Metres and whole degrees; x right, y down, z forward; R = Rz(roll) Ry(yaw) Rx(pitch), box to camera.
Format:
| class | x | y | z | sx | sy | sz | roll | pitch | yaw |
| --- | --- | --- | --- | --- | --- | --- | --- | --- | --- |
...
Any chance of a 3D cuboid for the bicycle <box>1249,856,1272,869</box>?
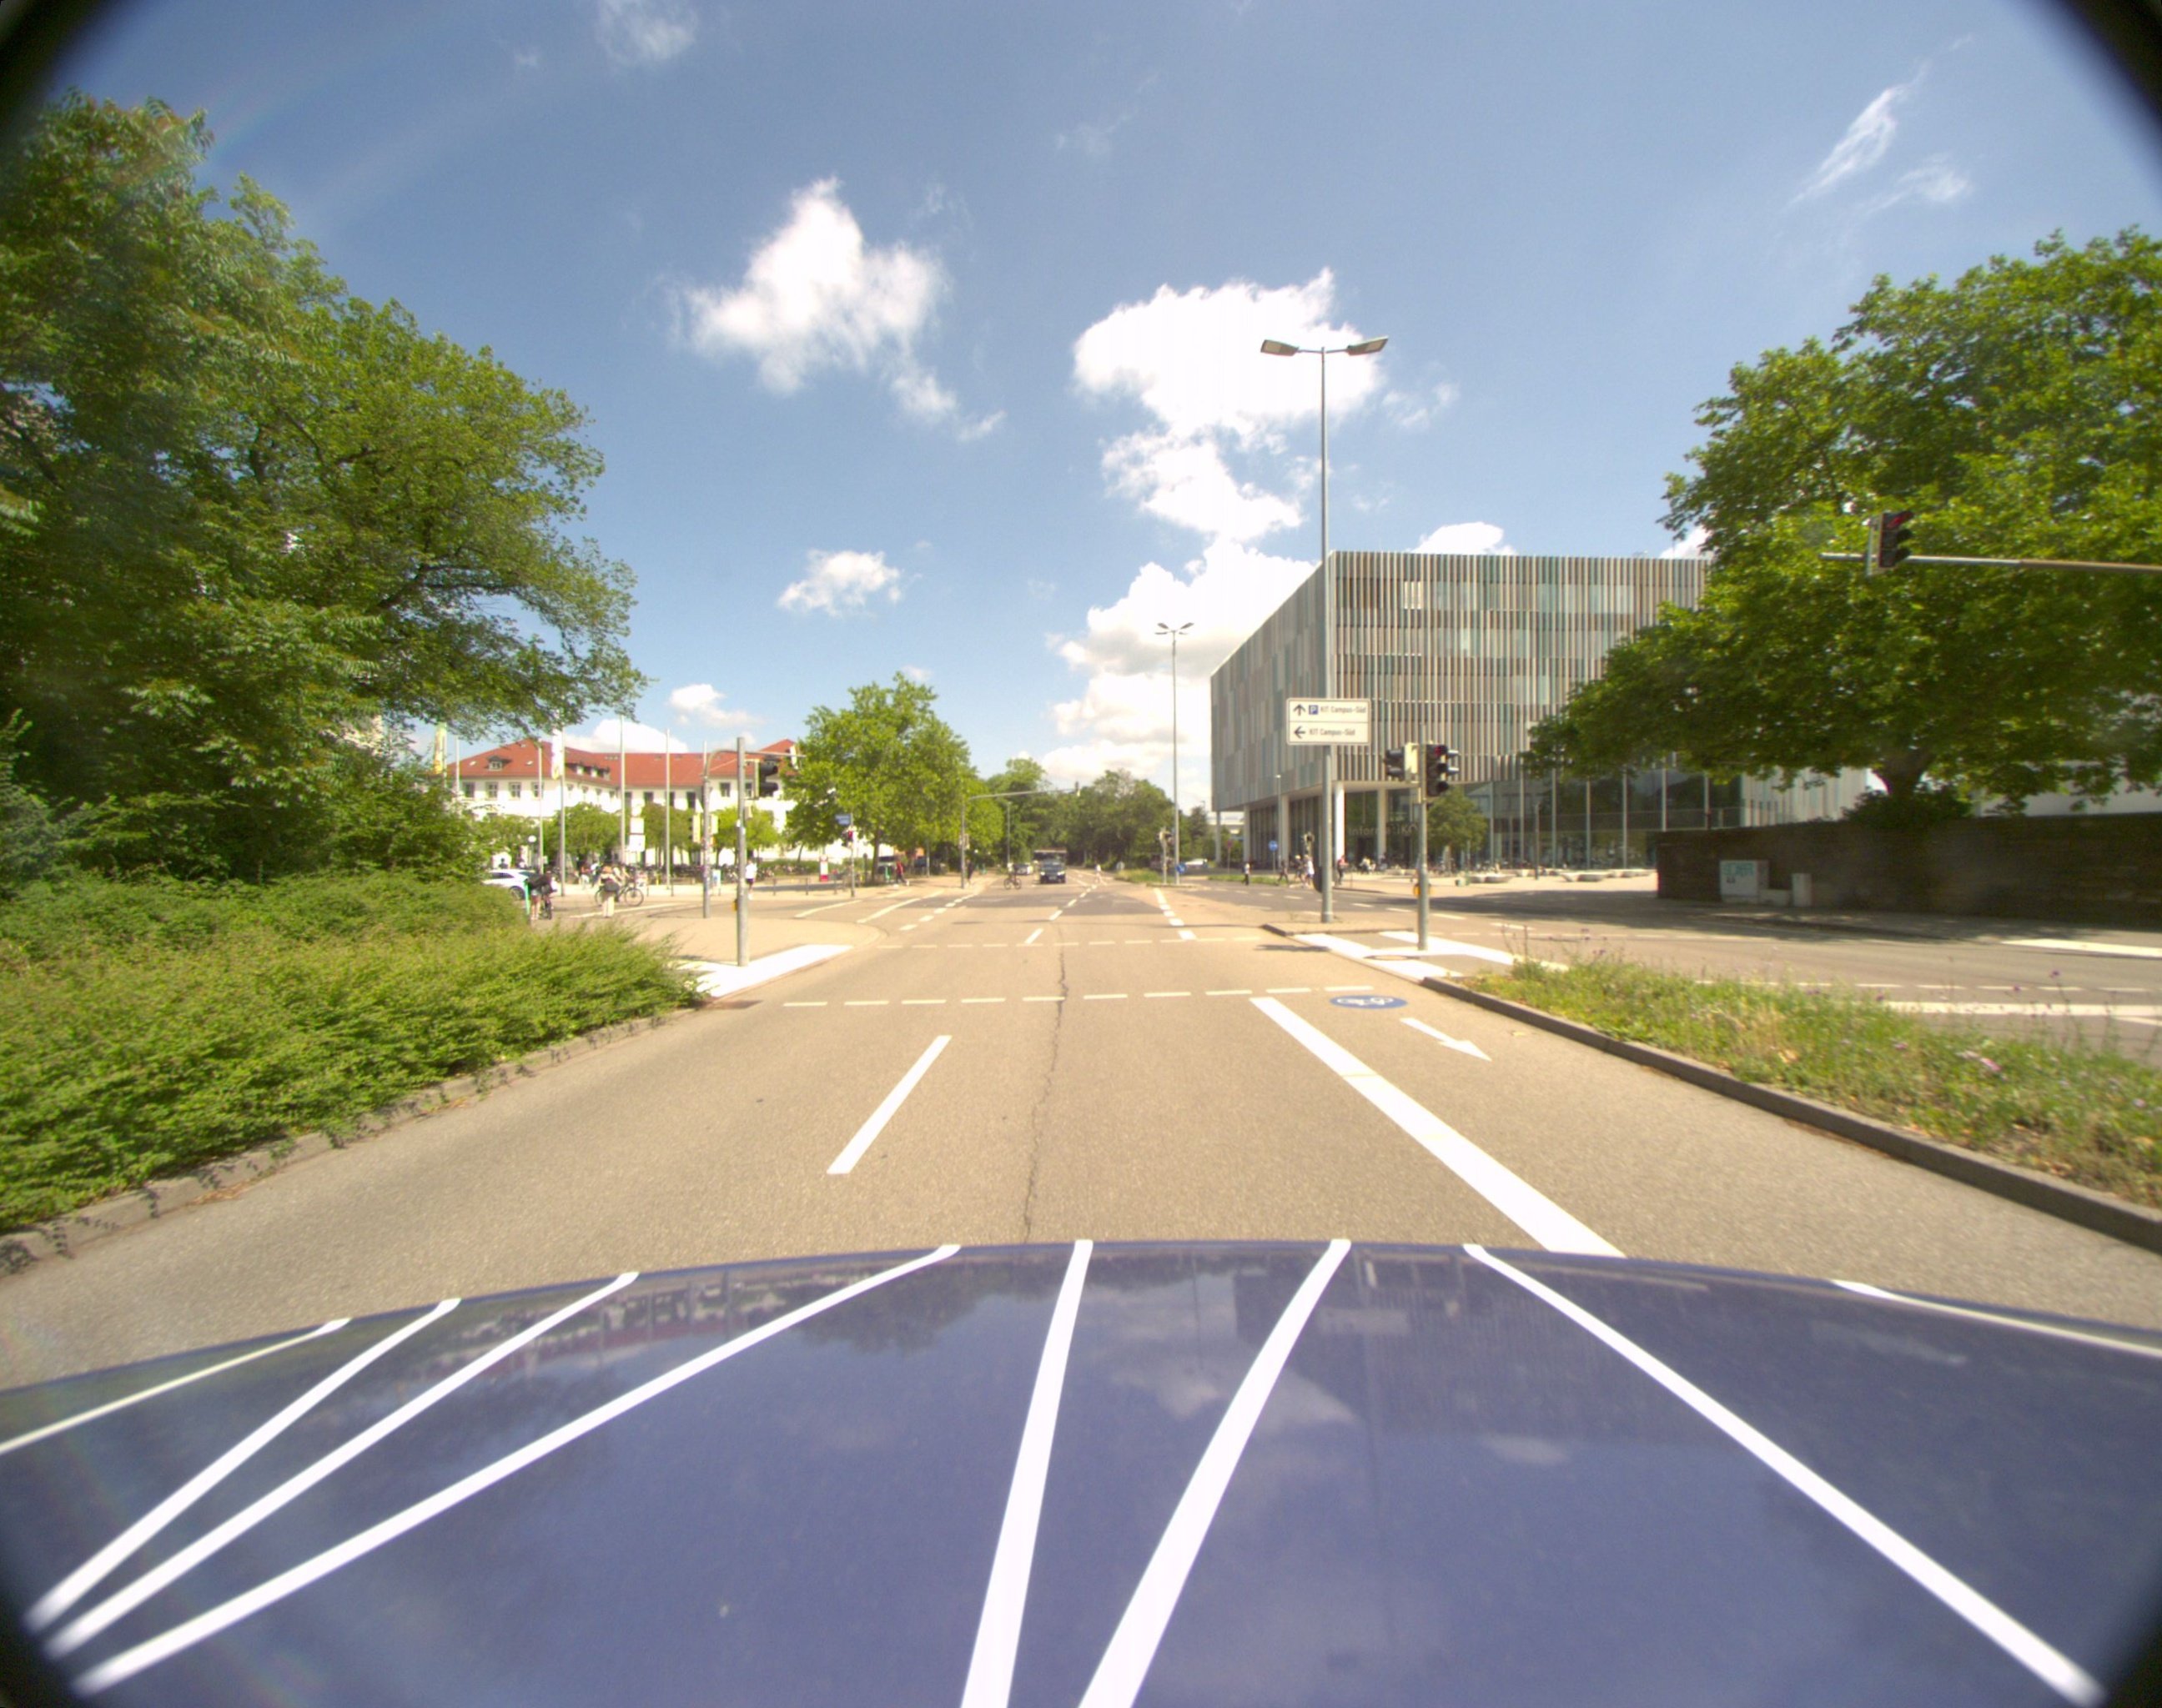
| class | x | y | z | sx | sy | sz | roll | pitch | yaw |
| --- | --- | --- | --- | --- | --- | --- | --- | --- | --- |
| bicycle | 21.091 | 0.955 | 89.196 | 2.511 | 1.486 | 0.621 | -1 | 1 | -1 |

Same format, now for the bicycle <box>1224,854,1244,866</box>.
| class | x | y | z | sx | sy | sz | roll | pitch | yaw |
| --- | --- | --- | --- | --- | --- | --- | --- | --- | --- |
| bicycle | 20.369 | 0.821 | 101.178 | 2.511 | 1.486 | 0.621 | -1 | 1 | -1 |

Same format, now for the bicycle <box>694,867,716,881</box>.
| class | x | y | z | sx | sy | sz | roll | pitch | yaw |
| --- | --- | --- | --- | --- | --- | --- | --- | --- | --- |
| bicycle | -27.411 | 1.453 | 55.441 | 1.371 | 0.995 | 0.352 | -1 | 0 | -7 |

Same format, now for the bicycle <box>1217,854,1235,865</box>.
| class | x | y | z | sx | sy | sz | roll | pitch | yaw |
| --- | --- | --- | --- | --- | --- | --- | --- | --- | --- |
| bicycle | 20.221 | 0.767 | 105.982 | 2.511 | 1.486 | 0.621 | -1 | 1 | -1 |

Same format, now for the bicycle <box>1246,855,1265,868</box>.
| class | x | y | z | sx | sy | sz | roll | pitch | yaw |
| --- | --- | --- | --- | --- | --- | --- | --- | --- | --- |
| bicycle | 21.183 | 0.918 | 92.294 | 2.200 | 1.486 | 0.621 | -1 | 1 | -1 |

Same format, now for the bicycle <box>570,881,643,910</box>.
| class | x | y | z | sx | sy | sz | roll | pitch | yaw |
| --- | --- | --- | --- | --- | --- | --- | --- | --- | --- |
| bicycle | -17.605 | 1.528 | 28.238 | 2.165 | 0.992 | 0.646 | -1 | 0 | -18 |

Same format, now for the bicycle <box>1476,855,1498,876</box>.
| class | x | y | z | sx | sy | sz | roll | pitch | yaw |
| --- | --- | --- | --- | --- | --- | --- | --- | --- | --- |
| bicycle | 30.669 | 0.825 | 57.402 | 0.997 | 1.543 | 3.422 | 0 | 0 | 36 |

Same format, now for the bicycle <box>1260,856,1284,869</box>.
| class | x | y | z | sx | sy | sz | roll | pitch | yaw |
| --- | --- | --- | --- | --- | --- | --- | --- | --- | --- |
| bicycle | 21.729 | 0.980 | 86.526 | 2.509 | 1.486 | 0.730 | -1 | 1 | 9 |

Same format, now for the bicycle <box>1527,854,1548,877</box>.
| class | x | y | z | sx | sy | sz | roll | pitch | yaw |
| --- | --- | --- | --- | --- | --- | --- | --- | --- | --- |
| bicycle | 33.144 | 0.813 | 55.098 | 0.997 | 1.543 | 3.422 | 0 | 0 | 36 |

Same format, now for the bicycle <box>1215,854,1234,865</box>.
| class | x | y | z | sx | sy | sz | roll | pitch | yaw |
| --- | --- | --- | --- | --- | --- | --- | --- | --- | --- |
| bicycle | 20.152 | 0.758 | 106.682 | 2.511 | 1.486 | 0.621 | -1 | 1 | -1 |

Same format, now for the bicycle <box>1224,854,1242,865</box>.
| class | x | y | z | sx | sy | sz | roll | pitch | yaw |
| --- | --- | --- | --- | --- | --- | --- | --- | --- | --- |
| bicycle | 20.636 | 0.793 | 103.365 | 2.330 | 1.486 | 0.621 | -1 | 1 | -1 |

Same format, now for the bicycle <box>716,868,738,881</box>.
| class | x | y | z | sx | sy | sz | roll | pitch | yaw |
| --- | --- | --- | --- | --- | --- | --- | --- | --- | --- |
| bicycle | -25.630 | 1.467 | 54.993 | 1.371 | 0.941 | 0.352 | -1 | 0 | -7 |

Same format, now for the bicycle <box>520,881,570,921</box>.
| class | x | y | z | sx | sy | sz | roll | pitch | yaw |
| --- | --- | --- | --- | --- | --- | --- | --- | --- | --- |
| bicycle | -15.876 | 1.372 | 22.495 | 1.659 | 1.136 | 0.673 | -2 | -2 | 36 |

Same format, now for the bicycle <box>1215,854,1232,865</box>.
| class | x | y | z | sx | sy | sz | roll | pitch | yaw |
| --- | --- | --- | --- | --- | --- | --- | --- | --- | --- |
| bicycle | 20.223 | 0.743 | 107.970 | 2.303 | 1.486 | 0.657 | -1 | 1 | -1 |

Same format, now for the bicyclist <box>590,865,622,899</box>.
| class | x | y | z | sx | sy | sz | roll | pitch | yaw |
| --- | --- | --- | --- | --- | --- | --- | --- | --- | --- |
| bicyclist | -17.642 | 1.030 | 28.233 | 0.834 | 1.219 | 0.617 | -1 | 0 | -18 |

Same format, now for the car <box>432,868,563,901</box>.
| class | x | y | z | sx | sy | sz | roll | pitch | yaw |
| --- | --- | --- | --- | --- | --- | --- | --- | --- | --- |
| car | -26.621 | 1.393 | 34.794 | 4.441 | 1.389 | 1.833 | -1 | 0 | -5 |

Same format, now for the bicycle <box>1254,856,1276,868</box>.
| class | x | y | z | sx | sy | sz | roll | pitch | yaw |
| --- | --- | --- | --- | --- | --- | --- | --- | --- | --- |
| bicycle | 21.817 | 0.938 | 90.108 | 2.511 | 1.486 | 0.621 | -1 | 1 | -1 |

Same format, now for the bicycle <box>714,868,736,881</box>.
| class | x | y | z | sx | sy | sz | roll | pitch | yaw |
| --- | --- | --- | --- | --- | --- | --- | --- | --- | --- |
| bicycle | -25.513 | 1.477 | 54.428 | 1.371 | 0.945 | 0.352 | -1 | 0 | -7 |

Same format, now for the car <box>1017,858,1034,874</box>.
| class | x | y | z | sx | sy | sz | roll | pitch | yaw |
| --- | --- | --- | --- | --- | --- | --- | --- | --- | --- |
| car | -6.283 | 1.294 | 85.997 | 1.913 | 1.772 | 3.998 | -1 | 0 | -5 |

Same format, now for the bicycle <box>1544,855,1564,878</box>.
| class | x | y | z | sx | sy | sz | roll | pitch | yaw |
| --- | --- | --- | --- | --- | --- | --- | --- | --- | --- |
| bicycle | 33.293 | 0.830 | 53.445 | 0.997 | 1.543 | 3.422 | 0 | 0 | 36 |

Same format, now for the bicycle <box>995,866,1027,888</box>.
| class | x | y | z | sx | sy | sz | roll | pitch | yaw |
| --- | --- | --- | --- | --- | --- | --- | --- | --- | --- |
| bicycle | -4.180 | 1.363 | 45.145 | 0.887 | 1.244 | 2.160 | -1 | 0 | -36 |

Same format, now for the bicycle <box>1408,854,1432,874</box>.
| class | x | y | z | sx | sy | sz | roll | pitch | yaw |
| --- | --- | --- | --- | --- | --- | --- | --- | --- | --- |
| bicycle | 27.420 | 0.803 | 61.368 | 1.049 | 1.543 | 3.422 | 0 | 0 | 36 |

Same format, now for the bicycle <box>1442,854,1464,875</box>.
| class | x | y | z | sx | sy | sz | roll | pitch | yaw |
| --- | --- | --- | --- | --- | --- | --- | --- | --- | --- |
| bicycle | 29.131 | 0.811 | 59.482 | 0.997 | 1.543 | 3.422 | 0 | 0 | 36 |

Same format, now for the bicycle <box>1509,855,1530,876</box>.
| class | x | y | z | sx | sy | sz | roll | pitch | yaw |
| --- | --- | --- | --- | --- | --- | --- | --- | --- | --- |
| bicycle | 32.232 | 0.830 | 55.785 | 0.997 | 1.543 | 3.422 | 0 | 0 | 36 |

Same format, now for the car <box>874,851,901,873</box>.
| class | x | y | z | sx | sy | sz | roll | pitch | yaw |
| --- | --- | --- | --- | --- | --- | --- | --- | --- | --- |
| car | -17.954 | 0.726 | 70.768 | 2.000 | 2.042 | 4.225 | -1 | 0 | -9 |

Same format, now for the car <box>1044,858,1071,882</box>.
| class | x | y | z | sx | sy | sz | roll | pitch | yaw |
| --- | --- | --- | --- | --- | --- | --- | --- | --- | --- |
| car | -1.754 | 1.110 | 54.634 | 1.846 | 1.593 | 3.999 | -1 | 0 | -3 |

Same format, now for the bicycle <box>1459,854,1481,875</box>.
| class | x | y | z | sx | sy | sz | roll | pitch | yaw |
| --- | --- | --- | --- | --- | --- | --- | --- | --- | --- |
| bicycle | 29.973 | 0.818 | 58.574 | 0.997 | 1.543 | 3.422 | 0 | 0 | 36 |

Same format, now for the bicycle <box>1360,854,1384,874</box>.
| class | x | y | z | sx | sy | sz | roll | pitch | yaw |
| --- | --- | --- | --- | --- | --- | --- | --- | --- | --- |
| bicycle | 24.519 | 0.850 | 63.964 | 0.808 | 1.634 | 3.422 | 0 | 0 | 41 |

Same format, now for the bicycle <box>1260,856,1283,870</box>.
| class | x | y | z | sx | sy | sz | roll | pitch | yaw |
| --- | --- | --- | --- | --- | --- | --- | --- | --- | --- |
| bicycle | 21.462 | 0.995 | 85.515 | 2.451 | 1.486 | 0.621 | -1 | 1 | -1 |

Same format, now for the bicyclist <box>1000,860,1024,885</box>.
| class | x | y | z | sx | sy | sz | roll | pitch | yaw |
| --- | --- | --- | --- | --- | --- | --- | --- | --- | --- |
| bicyclist | -4.074 | 1.107 | 44.987 | 0.974 | 1.436 | 1.074 | -1 | 1 | -37 |

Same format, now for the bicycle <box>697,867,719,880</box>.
| class | x | y | z | sx | sy | sz | roll | pitch | yaw |
| --- | --- | --- | --- | --- | --- | --- | --- | --- | --- |
| bicycle | -27.451 | 1.440 | 55.948 | 1.371 | 0.995 | 0.352 | -1 | 0 | -7 |

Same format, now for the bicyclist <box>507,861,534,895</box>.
| class | x | y | z | sx | sy | sz | roll | pitch | yaw |
| --- | --- | --- | --- | --- | --- | --- | --- | --- | --- |
| bicyclist | -31.113 | 1.321 | 42.171 | 1.085 | 1.843 | 0.686 | 0 | 1 | 22 |

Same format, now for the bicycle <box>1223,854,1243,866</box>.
| class | x | y | z | sx | sy | sz | roll | pitch | yaw |
| --- | --- | --- | --- | --- | --- | --- | --- | --- | --- |
| bicycle | 20.439 | 0.807 | 102.292 | 2.511 | 1.486 | 0.621 | -1 | 1 | -1 |

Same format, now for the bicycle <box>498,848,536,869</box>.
| class | x | y | z | sx | sy | sz | roll | pitch | yaw |
| --- | --- | --- | --- | --- | --- | --- | --- | --- | --- |
| bicycle | -31.338 | 0.260 | 42.239 | 2.049 | 1.127 | 0.691 | -1 | 0 | 21 |

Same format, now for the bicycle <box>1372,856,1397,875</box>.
| class | x | y | z | sx | sy | sz | roll | pitch | yaw |
| --- | --- | --- | --- | --- | --- | --- | --- | --- | --- |
| bicycle | 25.299 | 0.934 | 63.246 | 0.930 | 1.485 | 2.693 | 0 | 1 | 44 |

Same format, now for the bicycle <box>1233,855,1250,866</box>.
| class | x | y | z | sx | sy | sz | roll | pitch | yaw |
| --- | --- | --- | --- | --- | --- | --- | --- | --- | --- |
| bicycle | 20.834 | 0.847 | 98.623 | 2.071 | 1.486 | 0.621 | -1 | 1 | -1 |

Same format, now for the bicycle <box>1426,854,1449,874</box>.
| class | x | y | z | sx | sy | sz | roll | pitch | yaw |
| --- | --- | --- | --- | --- | --- | --- | --- | --- | --- |
| bicycle | 28.337 | 0.808 | 60.348 | 0.997 | 1.543 | 3.422 | 0 | 0 | 36 |

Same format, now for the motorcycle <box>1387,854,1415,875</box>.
| class | x | y | z | sx | sy | sz | roll | pitch | yaw |
| --- | --- | --- | --- | --- | --- | --- | --- | --- | --- |
| motorcycle | 26.283 | 0.830 | 62.312 | 0.969 | 1.630 | 3.305 | 0 | 0 | 44 |

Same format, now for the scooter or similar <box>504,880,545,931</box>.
| class | x | y | z | sx | sy | sz | roll | pitch | yaw |
| --- | --- | --- | --- | --- | --- | --- | --- | --- | --- |
| scooter or similar | -13.907 | 1.267 | 18.988 | 1.227 | 1.226 | 0.438 | 0 | -1 | 35 |
